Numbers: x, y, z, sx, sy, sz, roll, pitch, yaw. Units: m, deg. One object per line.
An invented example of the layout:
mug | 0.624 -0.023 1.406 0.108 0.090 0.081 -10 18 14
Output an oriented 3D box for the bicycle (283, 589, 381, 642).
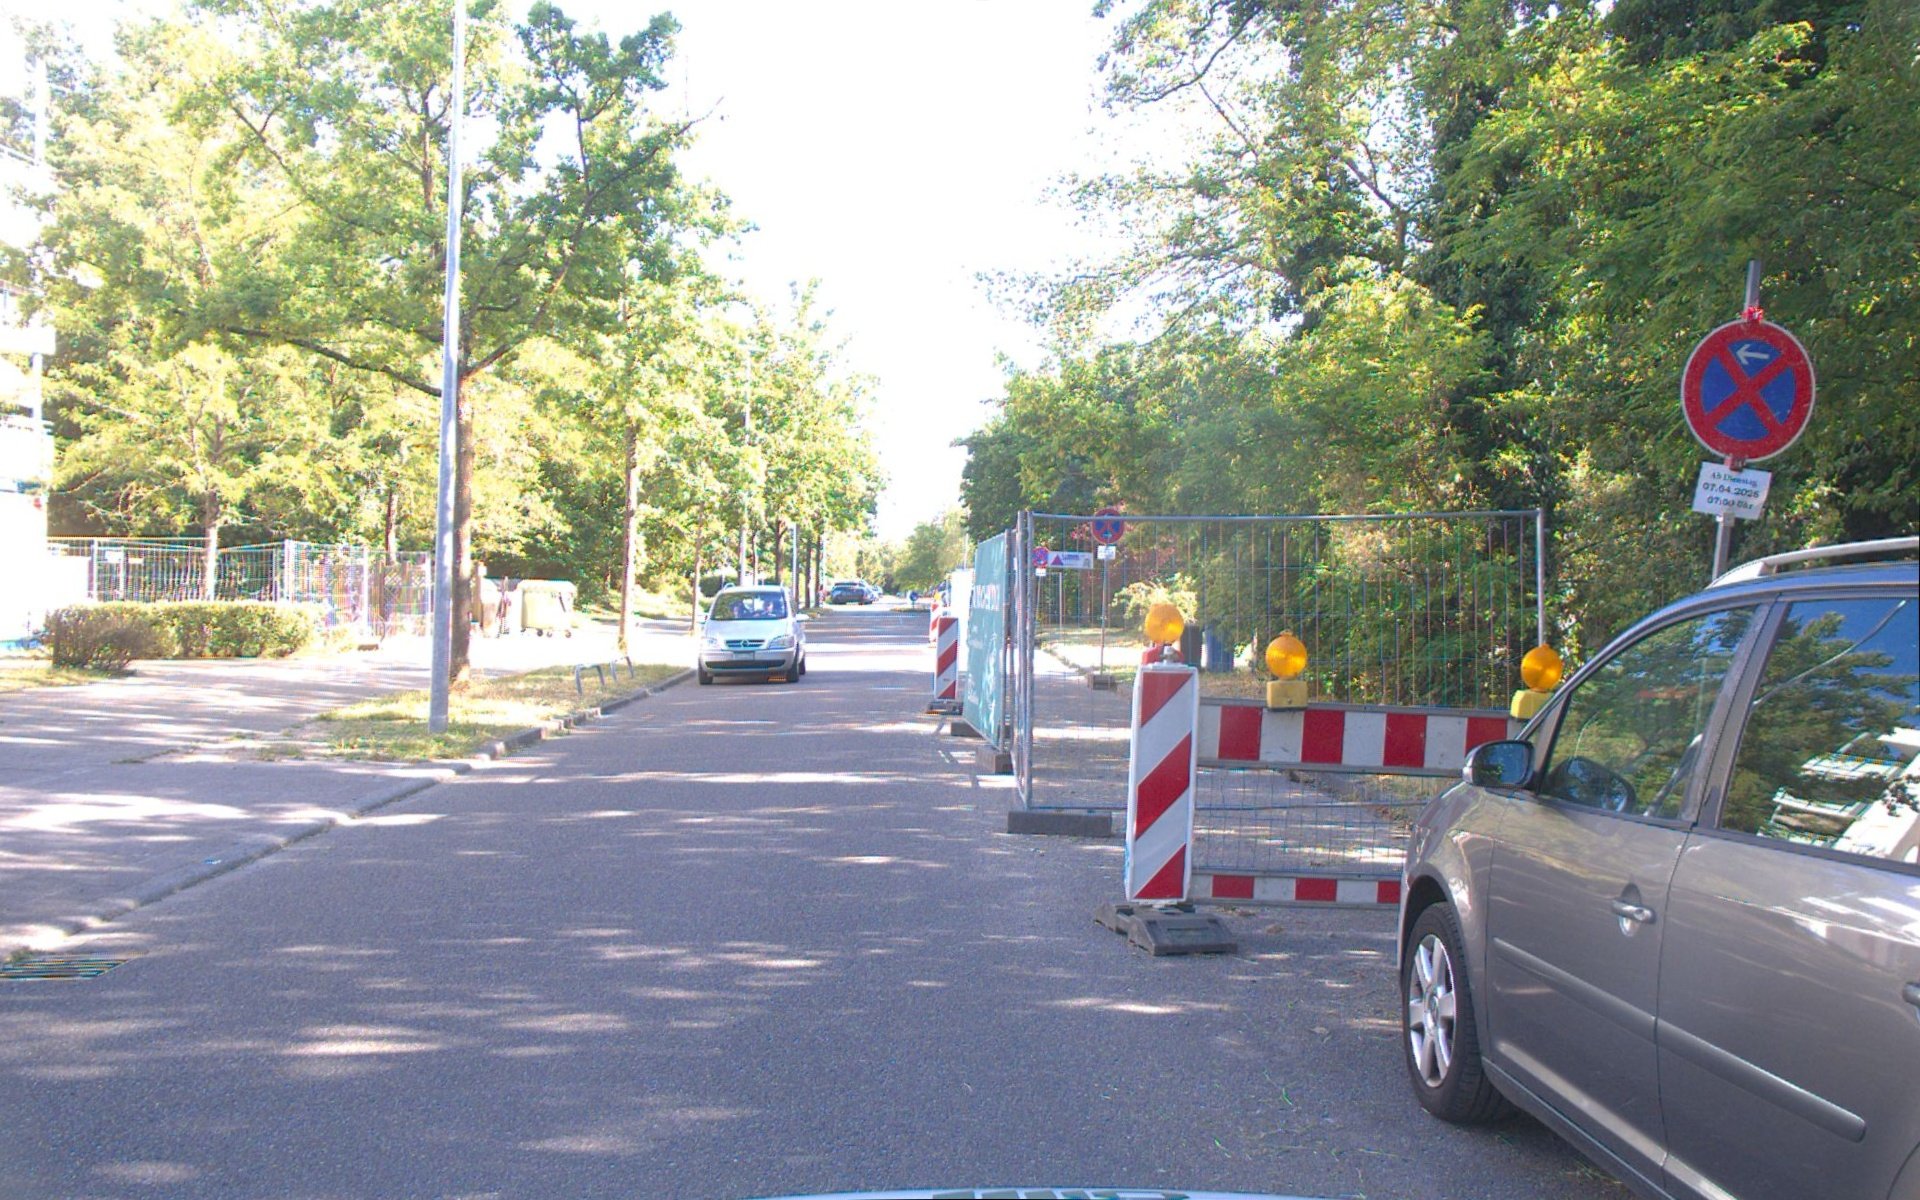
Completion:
bicycle | -12.727 0.314 33.559 1.807 1.045 0.399 1 -1 -15

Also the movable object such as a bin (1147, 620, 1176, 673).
movable object such as a bin | 3.431 0.793 28.145 0.404 0.885 0.484 -1 0 -1

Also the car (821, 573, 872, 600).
car | -11.922 -1.418 173.242 5.100 2.666 2.290 2 0 -7

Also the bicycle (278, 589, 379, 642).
bicycle | -12.643 0.317 33.140 1.828 1.045 0.399 1 -1 -15

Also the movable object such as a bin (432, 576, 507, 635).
movable object such as a bin | -12.449 0.123 41.992 1.244 1.460 1.324 0 0 26

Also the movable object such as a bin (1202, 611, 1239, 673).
movable object such as a bin | 4.420 0.709 28.123 0.508 1.017 0.608 -1 0 -1

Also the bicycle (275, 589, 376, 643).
bicycle | -12.523 0.316 32.672 1.807 1.045 0.399 1 -1 -15

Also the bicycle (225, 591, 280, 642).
bicycle | -14.933 0.354 34.928 0.391 1.045 1.700 1 -1 1

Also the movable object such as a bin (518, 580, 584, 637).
movable object such as a bin | -10.685 0.205 43.230 1.242 1.460 1.182 0 0 15

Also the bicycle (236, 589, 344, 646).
bicycle | -12.645 0.332 31.252 1.837 1.045 0.399 1 -1 -15

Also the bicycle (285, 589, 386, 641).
bicycle | -12.834 0.316 34.021 1.882 1.045 0.399 1 -1 -15

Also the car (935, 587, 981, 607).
car | -0.158 -0.249 143.816 3.758 1.604 1.689 3 0 5

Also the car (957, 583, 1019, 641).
car | 0.919 0.356 51.880 1.772 1.680 4.422 2 0 2

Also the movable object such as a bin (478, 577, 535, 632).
movable object such as a bin | -12.272 0.122 44.778 1.132 1.460 1.258 0 0 -35

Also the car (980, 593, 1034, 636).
car | 1.646 0.481 58.710 1.628 1.399 4.153 2 0 -2

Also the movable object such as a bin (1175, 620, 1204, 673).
movable object such as a bin | 3.911 0.784 28.201 0.404 0.885 0.484 -1 0 -1

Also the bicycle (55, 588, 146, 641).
bicycle | -17.546 0.294 33.767 1.659 1.045 0.401 1 -1 4

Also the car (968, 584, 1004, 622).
car | 1.304 0.131 83.272 1.590 1.804 3.668 2 0 -1

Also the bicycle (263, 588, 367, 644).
bicycle | -12.537 0.313 32.198 1.824 1.045 0.399 1 -1 -15

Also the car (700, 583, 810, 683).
car | -3.505 0.526 28.828 1.626 1.624 4.006 0 0 -3

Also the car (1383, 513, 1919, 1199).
car | 2.345 0.702 3.518 1.645 1.650 4.135 2 0 -2

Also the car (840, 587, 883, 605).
car | -9.799 -0.387 164.359 4.022 1.604 1.958 3 0 0

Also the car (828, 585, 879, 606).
car | -9.552 -0.407 148.059 4.227 1.604 2.047 3 0 5

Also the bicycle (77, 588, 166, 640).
bicycle | -17.457 0.292 34.446 1.659 1.045 0.401 1 -1 4
